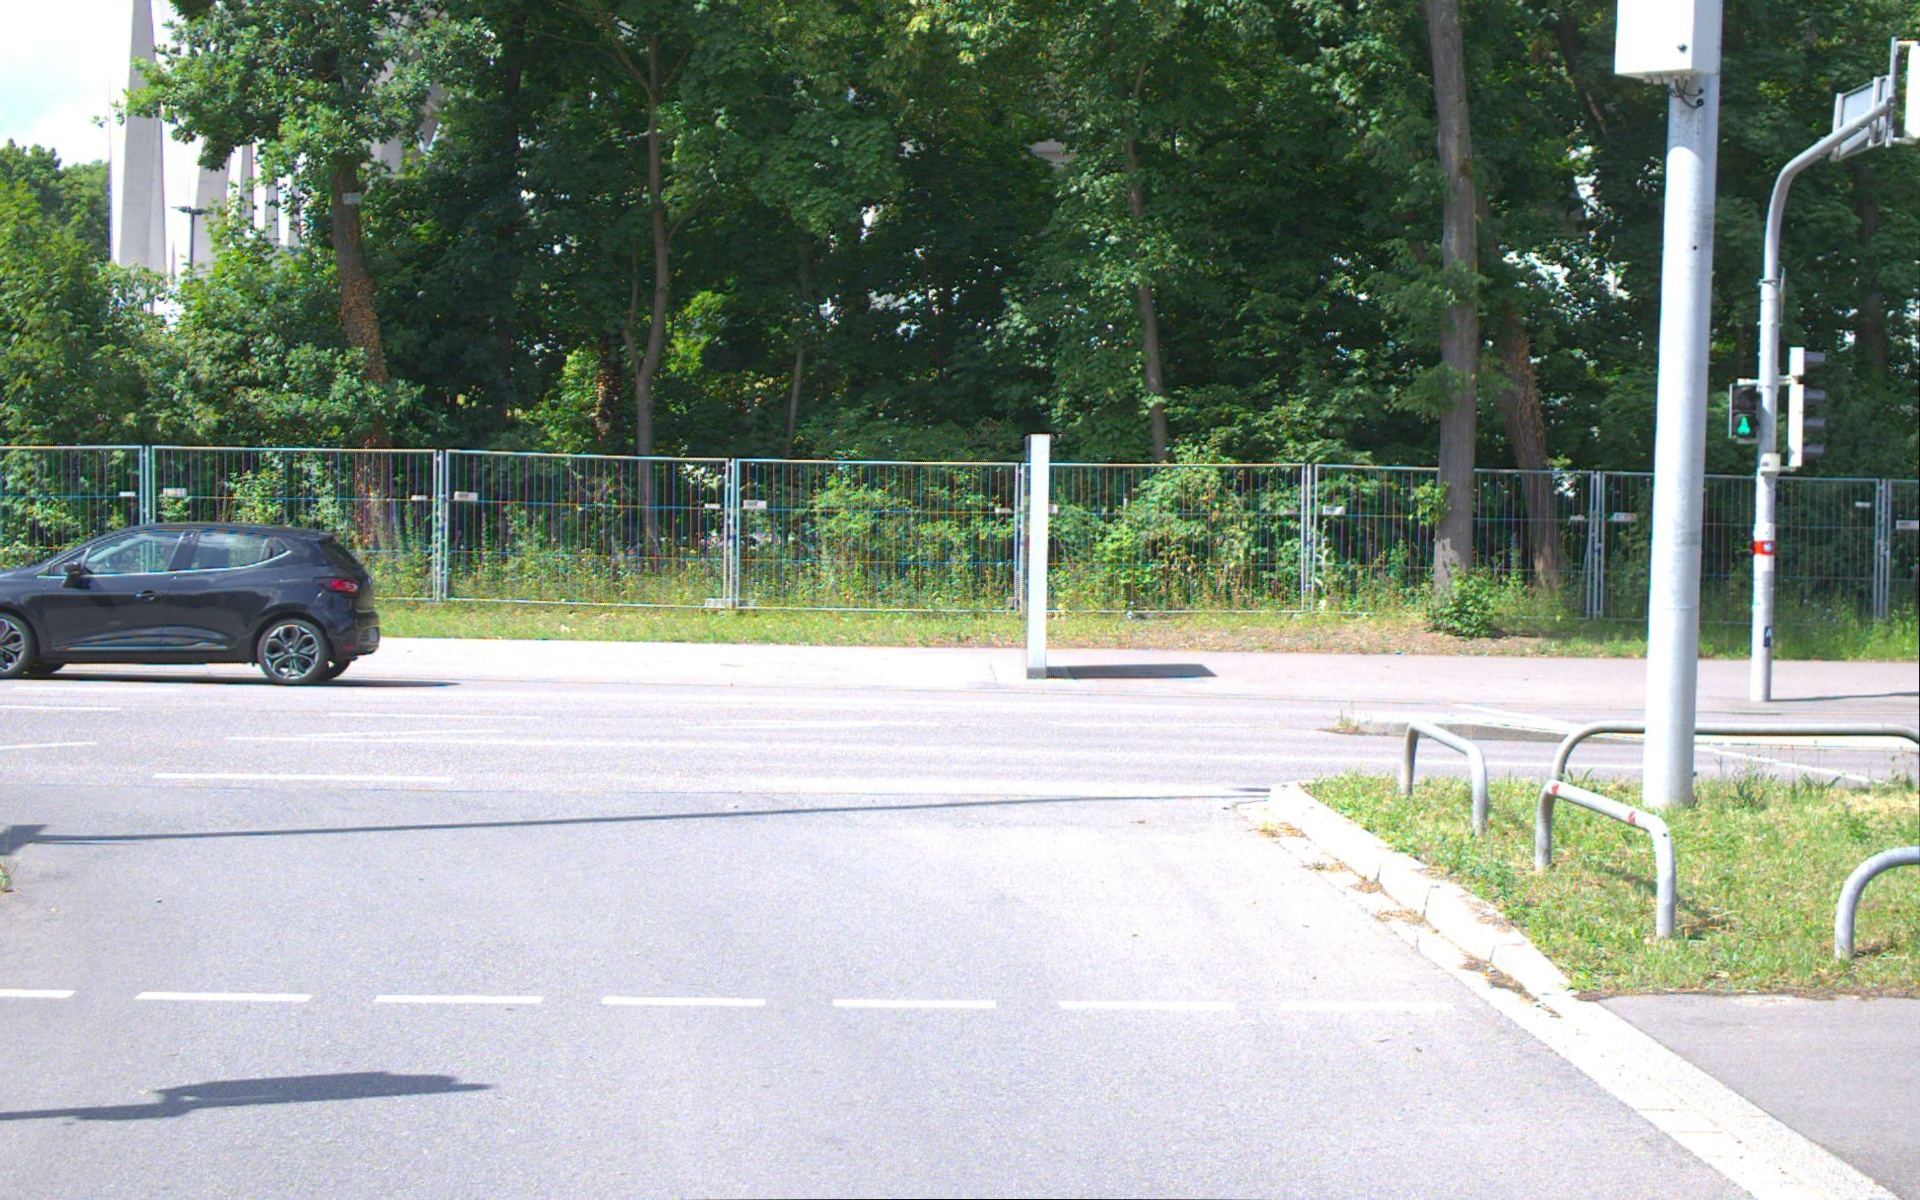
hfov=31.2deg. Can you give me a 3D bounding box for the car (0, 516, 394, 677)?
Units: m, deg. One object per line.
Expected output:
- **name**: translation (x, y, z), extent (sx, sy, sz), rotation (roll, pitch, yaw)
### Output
- **car**: translation (-7.221, -0.043, 31.027), extent (3.962, 1.373, 1.603), rotation (1, 0, 0)
